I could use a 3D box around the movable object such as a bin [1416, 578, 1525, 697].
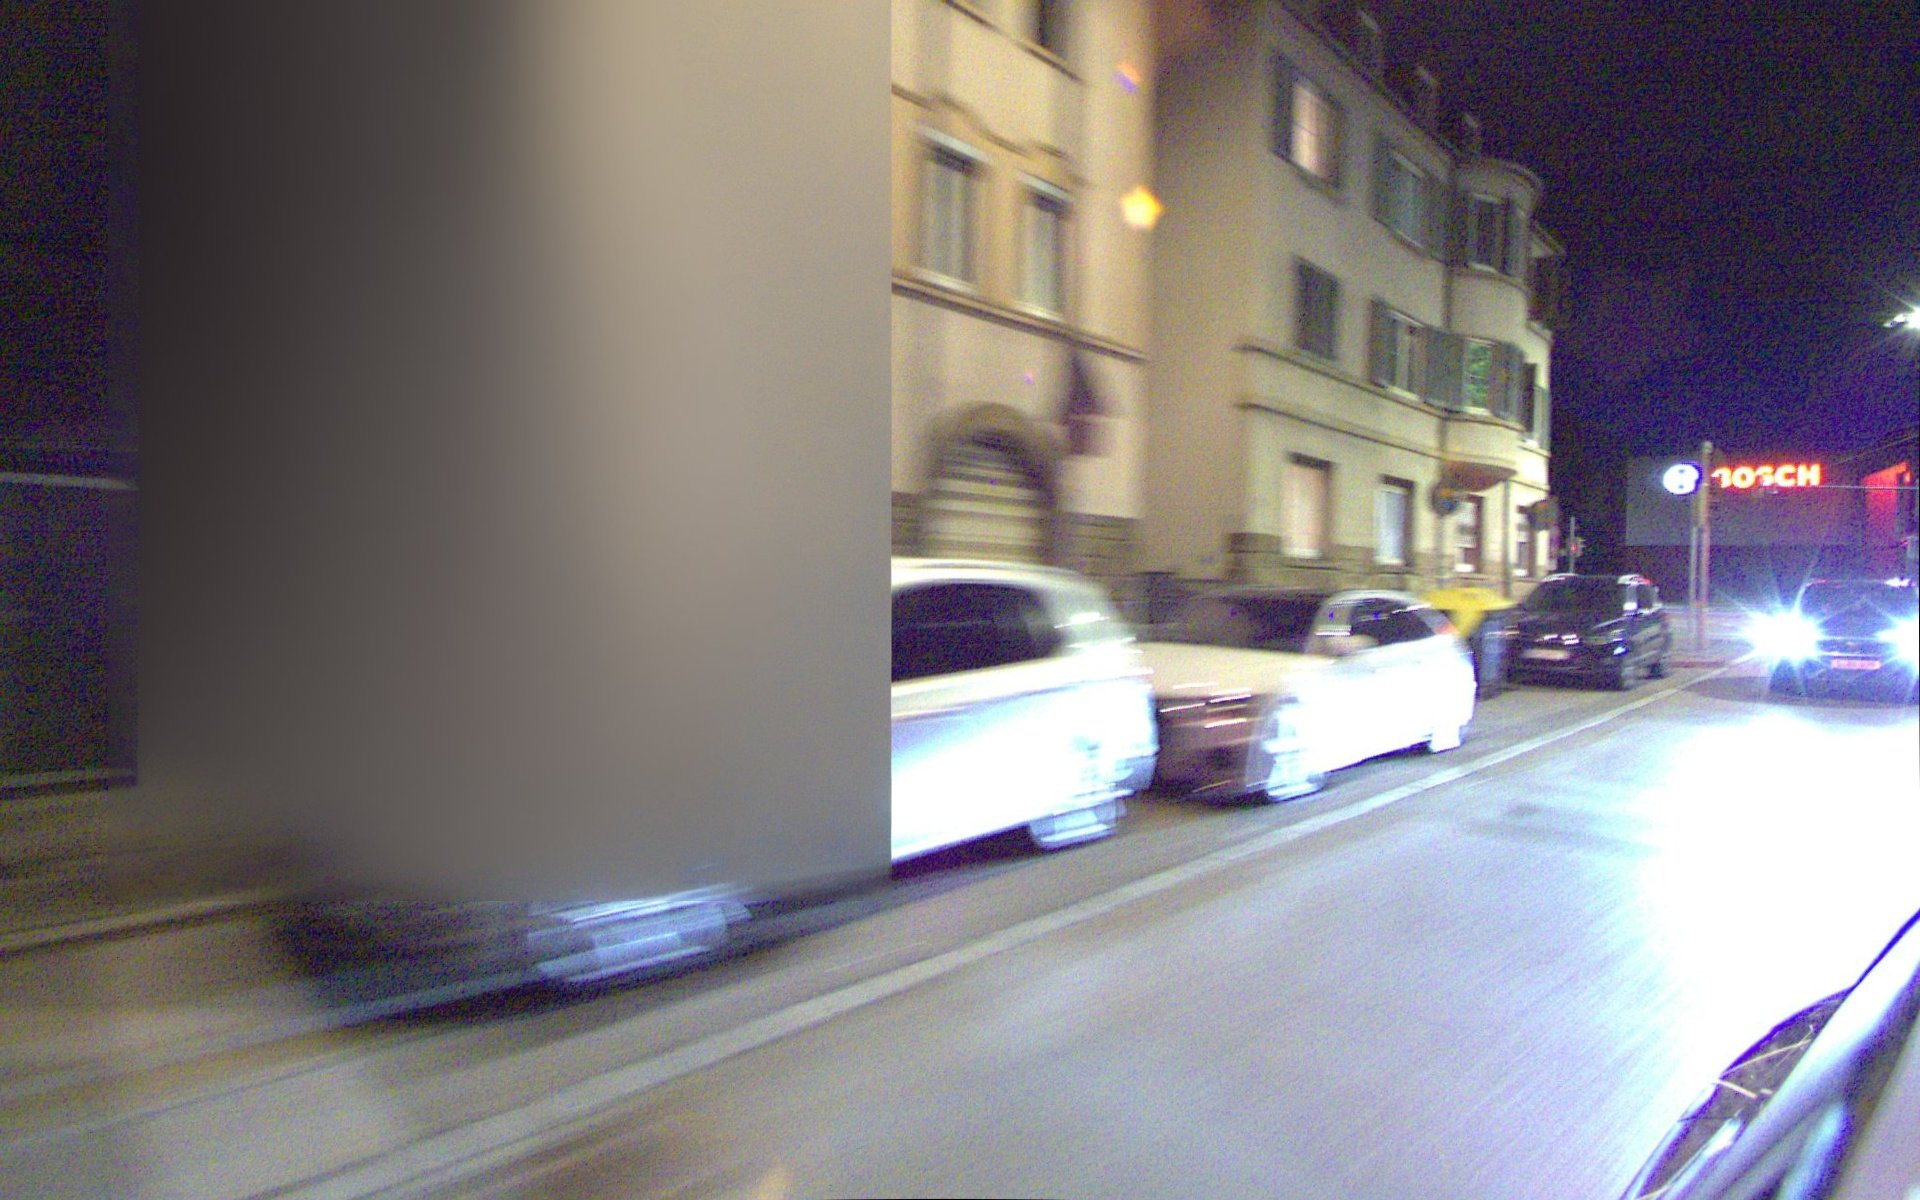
[{"bbox_3d":[6.791,0.451,13.449,0.937,1.449,1.318,4,3,42],"label":"movable object such as a bin"}]

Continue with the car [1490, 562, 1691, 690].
[{"bbox_3d":[9.964,0.287,15.859,1.745,1.703,4.190,4,4,44],"label":"car"}]

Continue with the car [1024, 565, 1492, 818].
[{"bbox_3d":[2.767,0.499,8.576,1.745,1.527,4.756,4,4,44],"label":"car"}]

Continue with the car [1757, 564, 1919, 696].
[{"bbox_3d":[13.055,0.351,14.460,3.932,1.636,1.996,-1,2,-42],"label":"car"}]

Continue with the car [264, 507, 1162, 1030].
[{"bbox_3d":[-0.887,0.430,5.147,1.745,1.584,4.143,4,4,44],"label":"car"}]
